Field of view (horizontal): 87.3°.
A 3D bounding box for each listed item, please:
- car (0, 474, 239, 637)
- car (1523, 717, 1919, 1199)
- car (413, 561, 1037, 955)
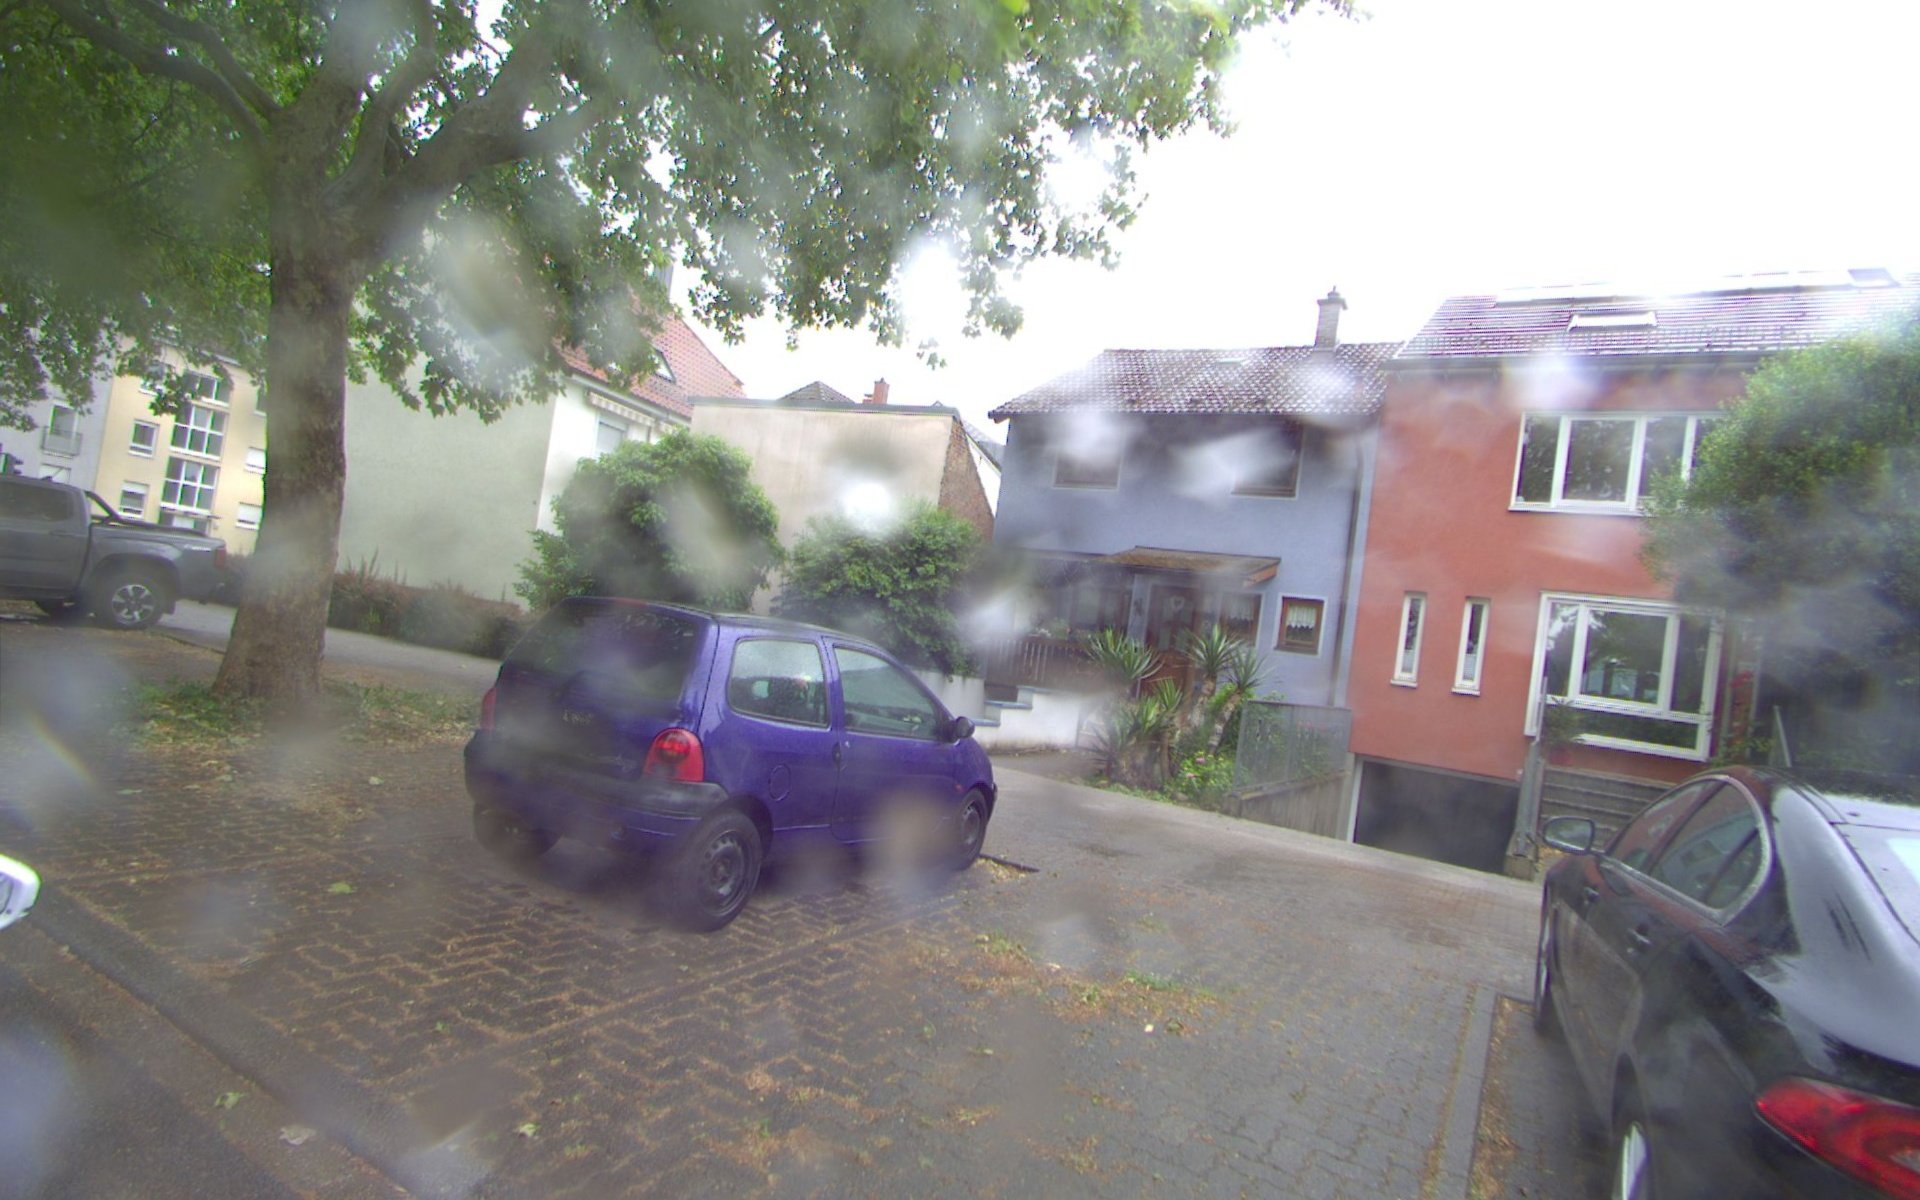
[{"bbox_3d":[-12.399,-0.696,12.419,1.812,1.827,5.356,7,-2,25],"label":"car"},{"bbox_3d":[2.952,1.261,2.981,1.904,1.489,4.780,7,-2,28],"label":"car"},{"bbox_3d":[-1.062,0.811,5.961,1.591,1.480,3.364,7,-2,30],"label":"car"}]
